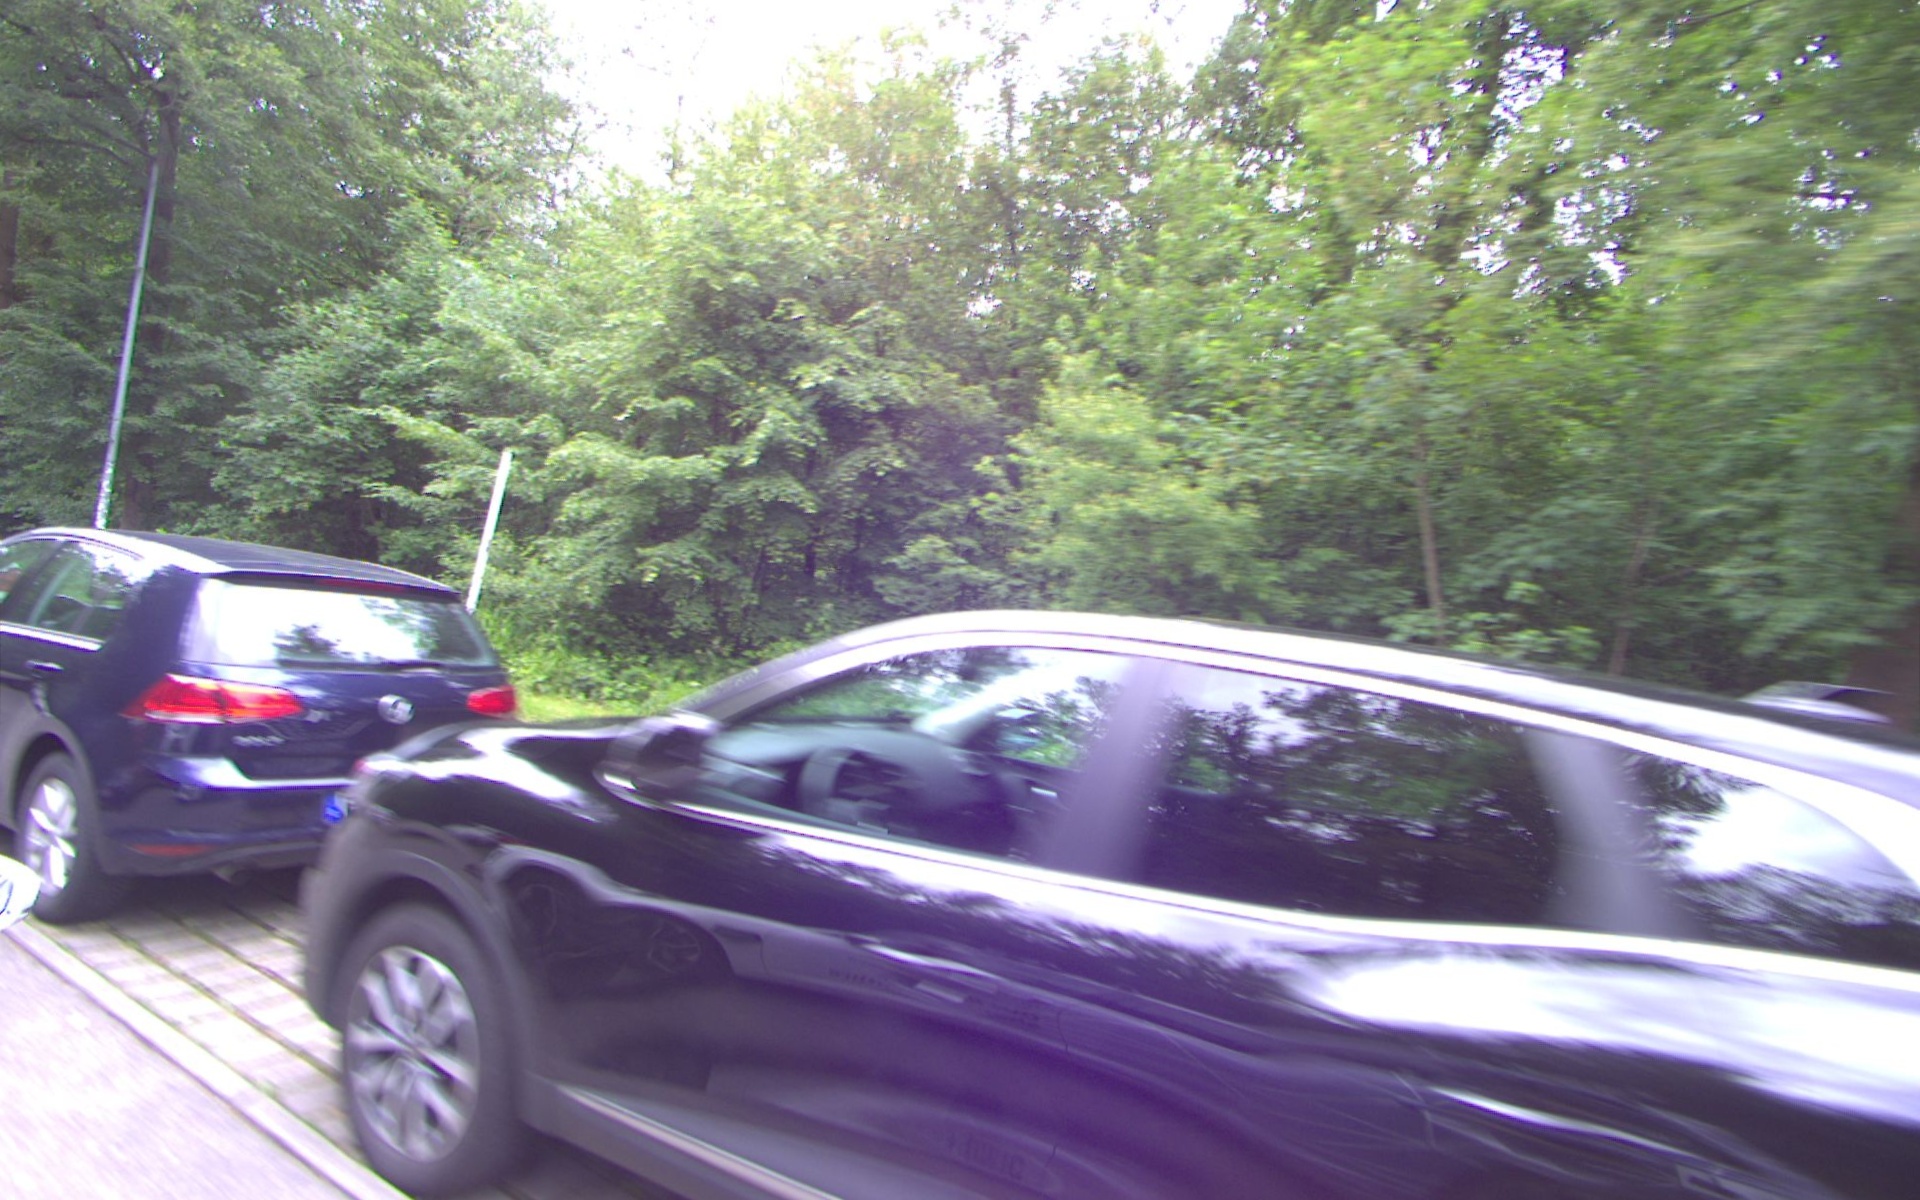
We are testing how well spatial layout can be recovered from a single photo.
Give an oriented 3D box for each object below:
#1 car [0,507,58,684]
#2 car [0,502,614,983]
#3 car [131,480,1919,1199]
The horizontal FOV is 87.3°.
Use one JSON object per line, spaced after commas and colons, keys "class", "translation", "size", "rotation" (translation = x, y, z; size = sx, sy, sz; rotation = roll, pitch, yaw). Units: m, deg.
{"class": "car", "translation": [-9.936, -0.303, 8.829], "size": [4.354, 1.423, 1.740], "rotation": [7, -2, 32]}
{"class": "car", "translation": [-4.142, 0.342, 5.104], "size": [4.664, 1.451, 1.741], "rotation": [7, -2, 30]}
{"class": "car", "translation": [0.068, 0.753, 2.625], "size": [4.348, 1.578, 1.843], "rotation": [7, -2, 29]}
